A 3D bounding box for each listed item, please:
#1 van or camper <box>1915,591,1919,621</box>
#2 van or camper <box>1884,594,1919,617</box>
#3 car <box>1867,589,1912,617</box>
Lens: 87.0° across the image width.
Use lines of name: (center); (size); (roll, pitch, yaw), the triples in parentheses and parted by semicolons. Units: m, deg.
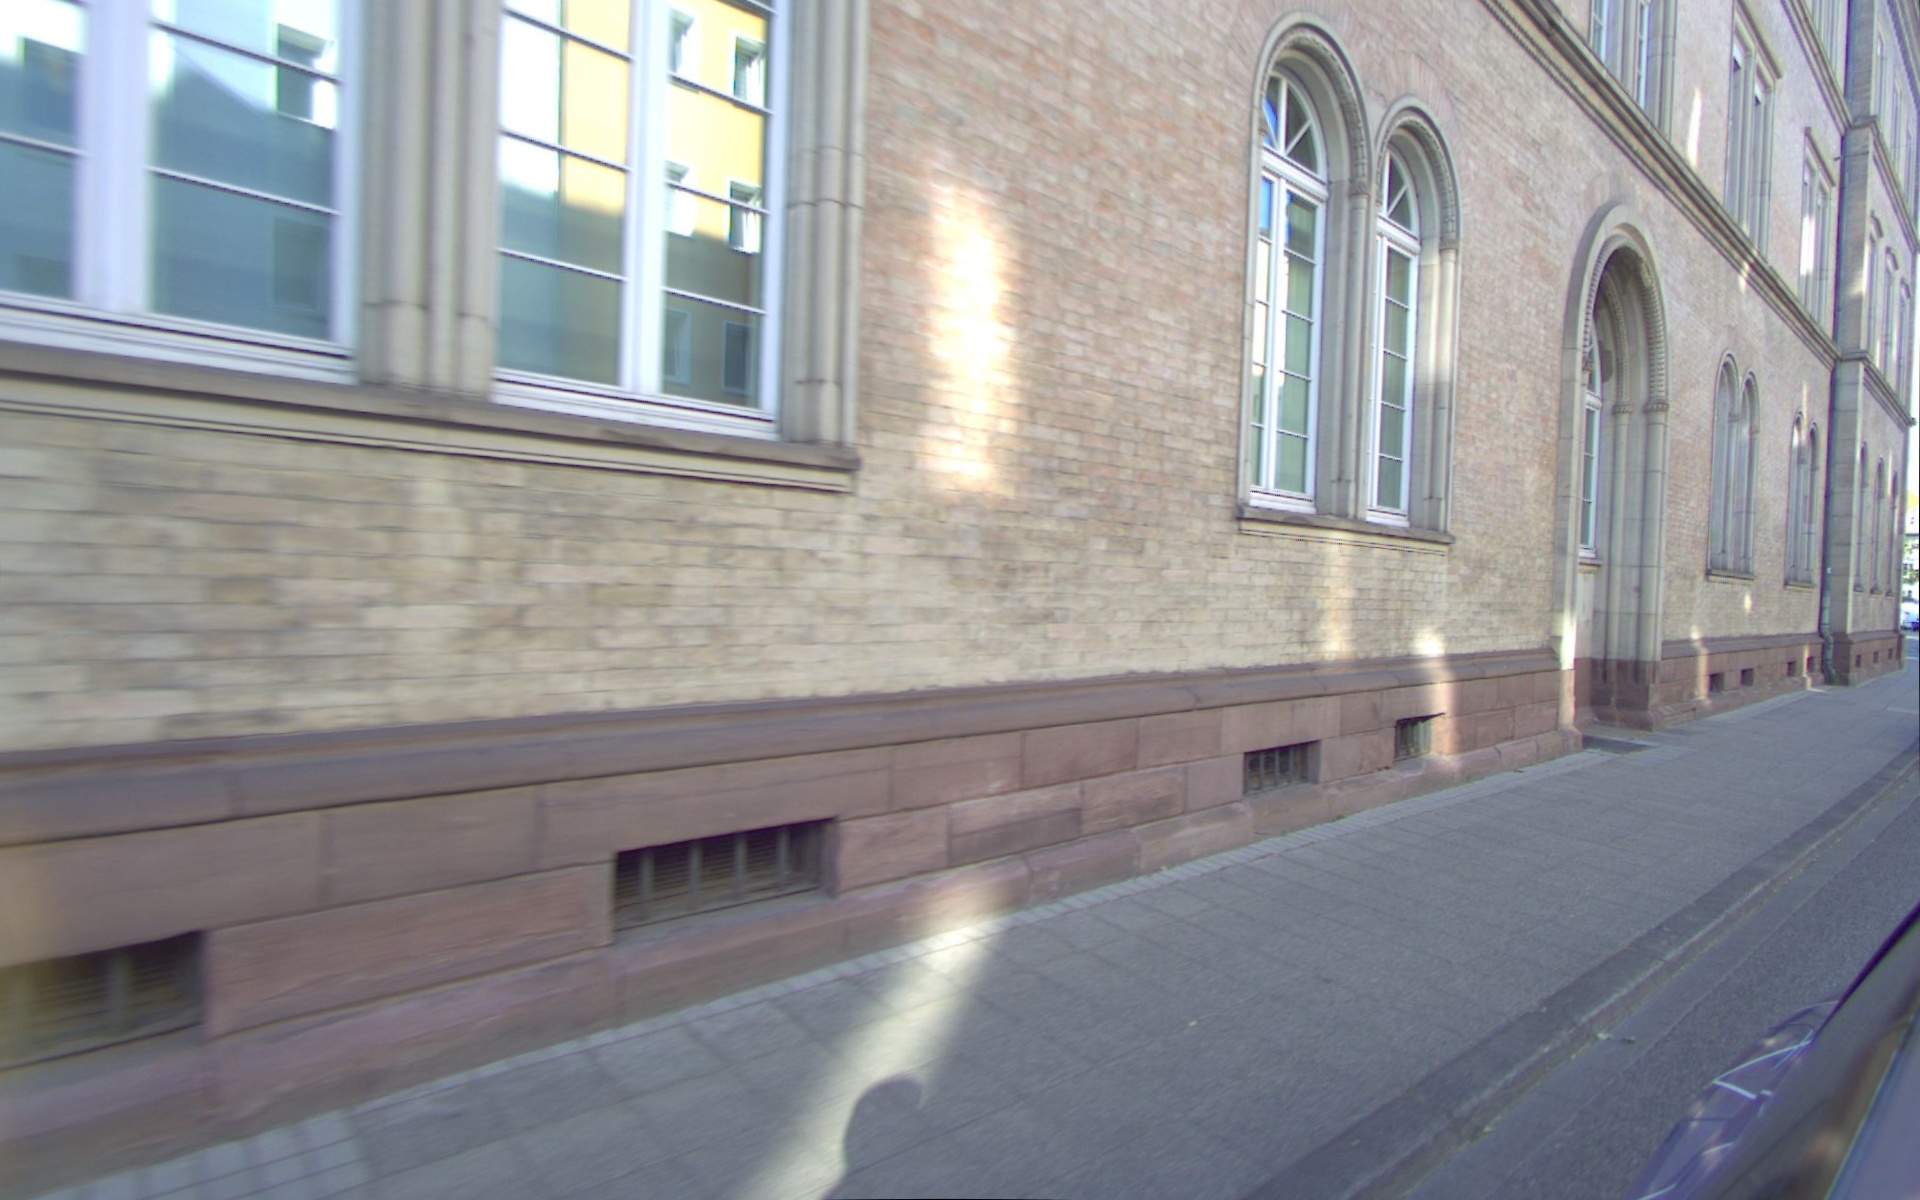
van or camper: (66.479, 0.440, 68.380); (2.151, 2.038, 4.911); (3, 2, 37)
van or camper: (90.928, 0.540, 95.758); (4.688, 2.113, 1.981); (2, 1, 28)
car: (71.171, 0.222, 77.542); (1.988, 2.039, 3.948); (2, 1, 36)
